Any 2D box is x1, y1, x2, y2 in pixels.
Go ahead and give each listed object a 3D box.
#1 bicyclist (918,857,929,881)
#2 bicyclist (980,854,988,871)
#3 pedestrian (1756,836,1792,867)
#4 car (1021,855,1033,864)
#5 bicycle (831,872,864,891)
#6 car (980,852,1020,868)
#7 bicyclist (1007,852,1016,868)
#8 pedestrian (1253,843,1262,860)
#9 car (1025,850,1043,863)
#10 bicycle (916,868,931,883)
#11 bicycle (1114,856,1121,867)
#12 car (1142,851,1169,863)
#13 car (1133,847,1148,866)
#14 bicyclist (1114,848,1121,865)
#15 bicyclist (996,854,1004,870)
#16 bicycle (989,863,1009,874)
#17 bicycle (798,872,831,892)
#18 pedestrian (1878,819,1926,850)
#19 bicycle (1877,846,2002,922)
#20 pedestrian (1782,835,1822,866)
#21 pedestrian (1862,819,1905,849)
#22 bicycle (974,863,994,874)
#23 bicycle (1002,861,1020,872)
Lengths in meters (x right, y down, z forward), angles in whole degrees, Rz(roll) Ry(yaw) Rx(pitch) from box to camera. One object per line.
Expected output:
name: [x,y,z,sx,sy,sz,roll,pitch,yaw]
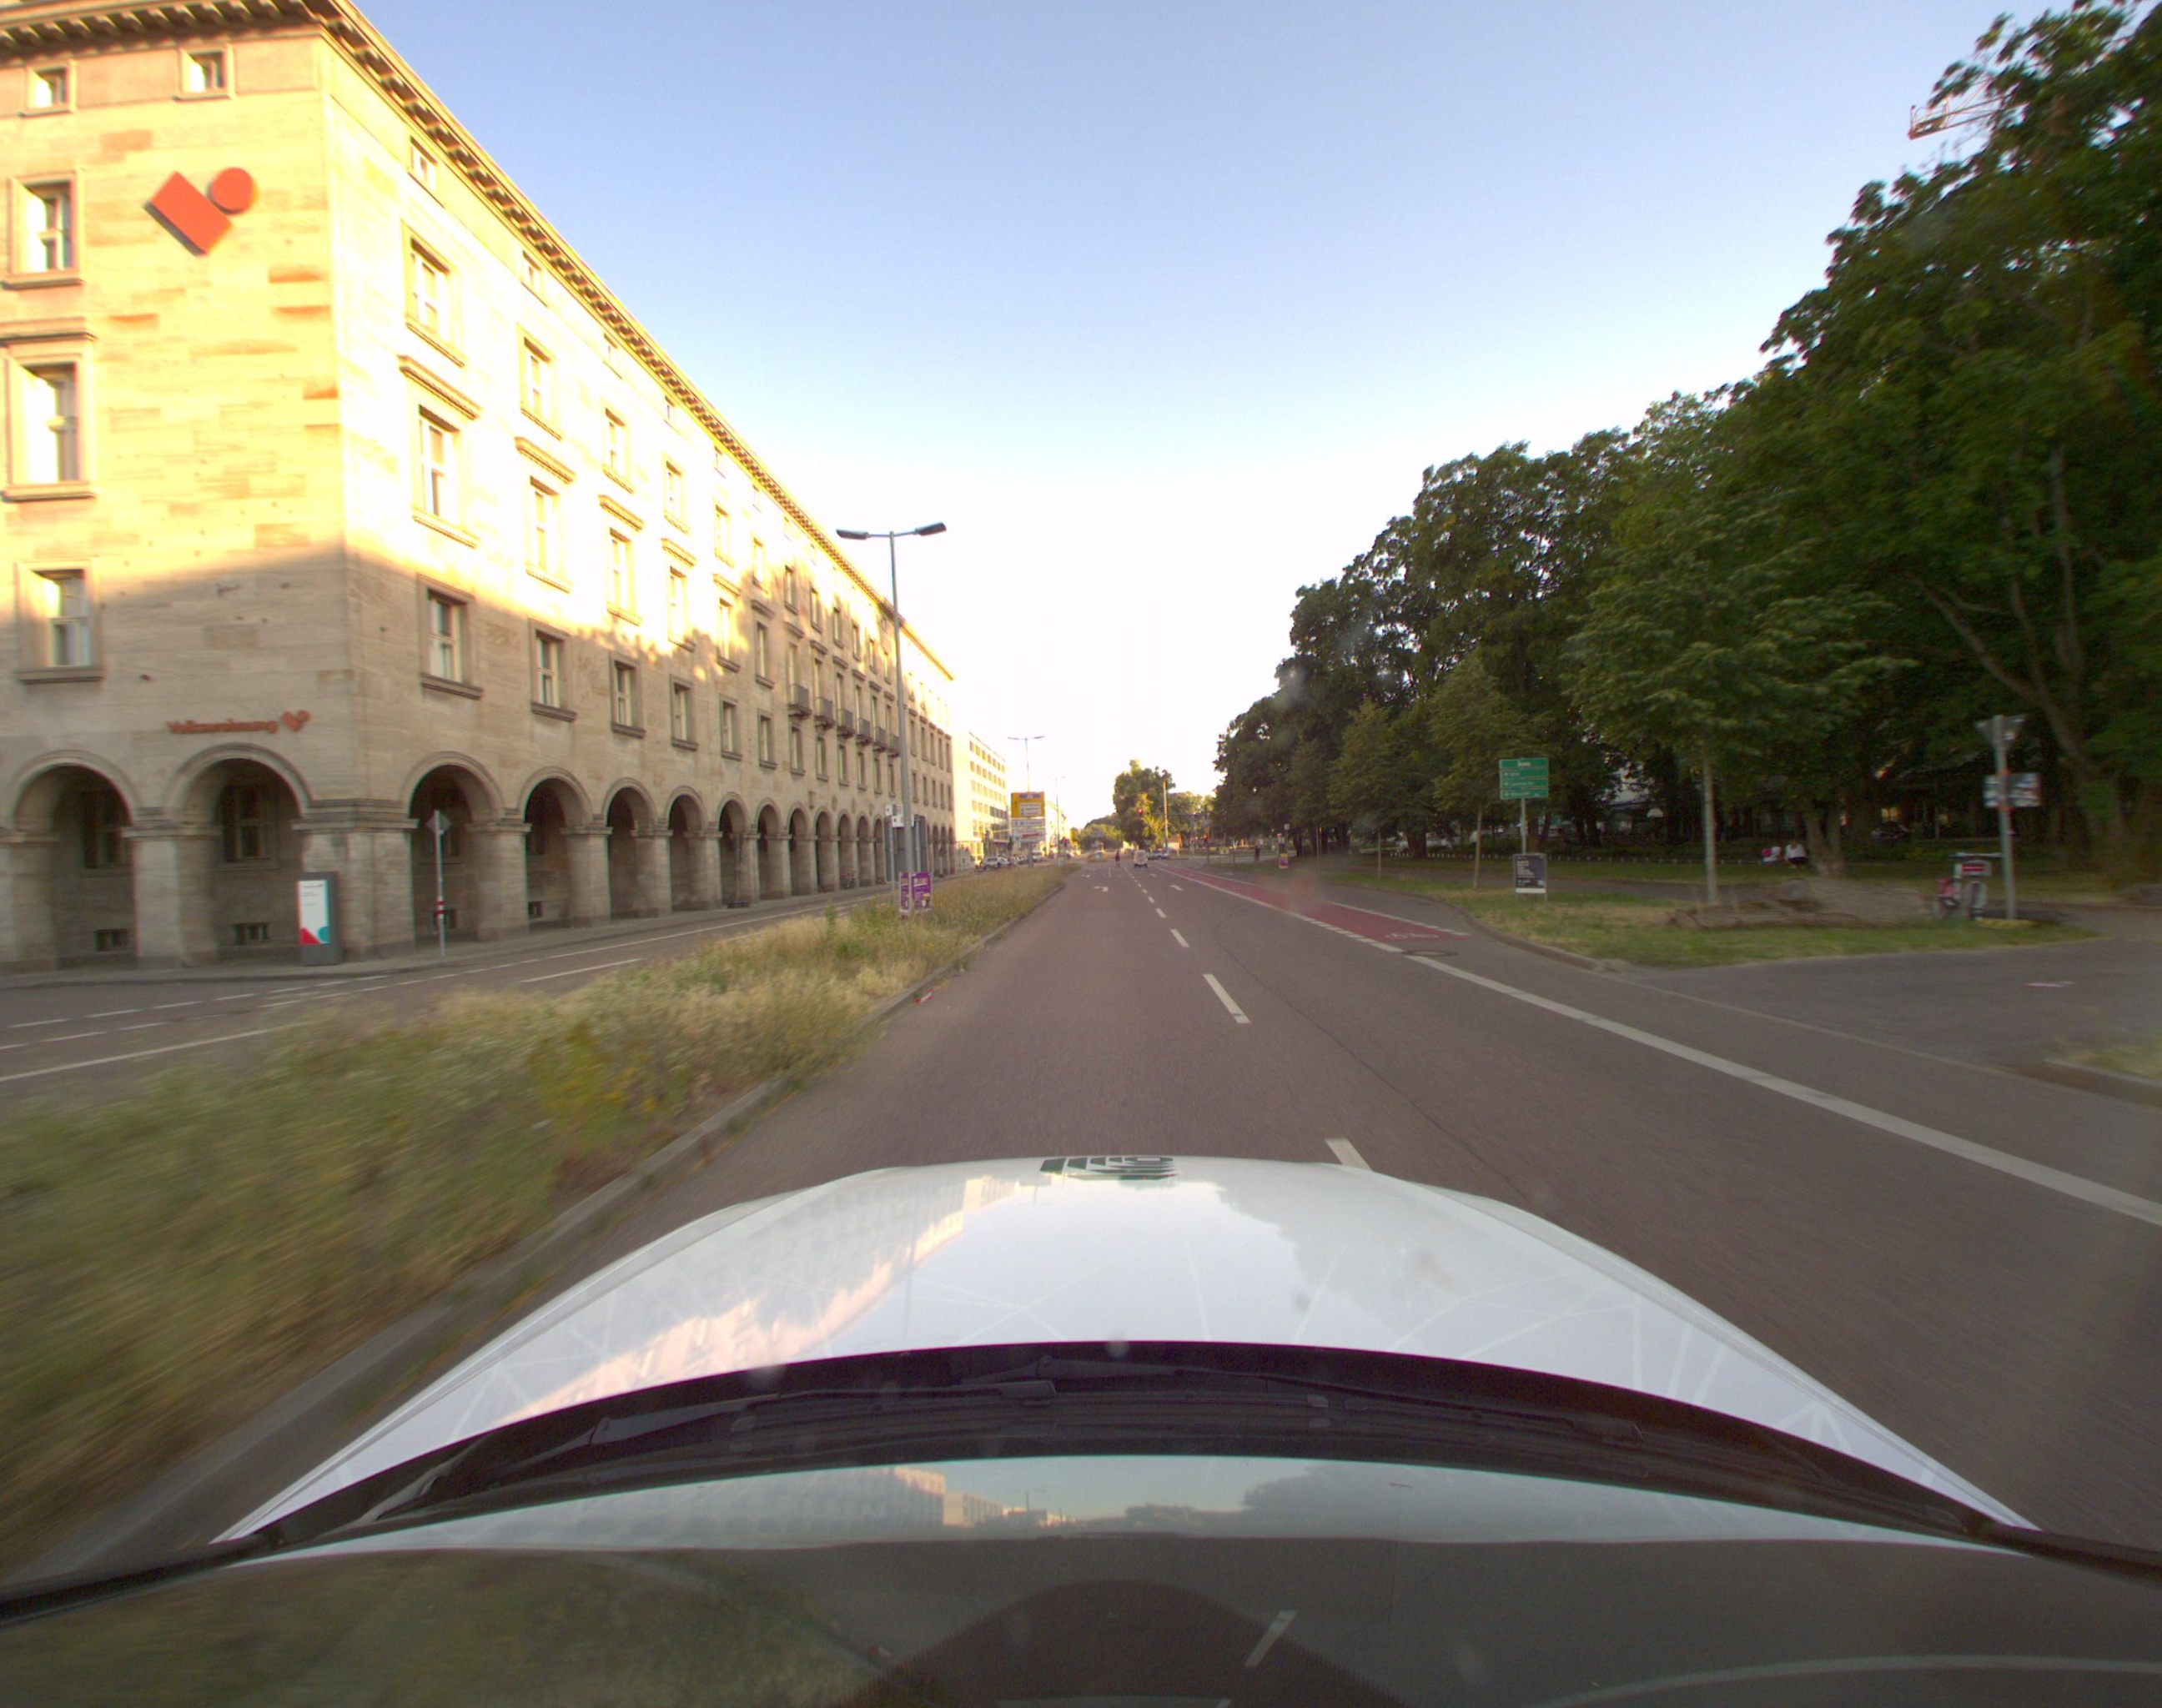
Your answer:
bicyclist: [-11.249,1.046,58.075,0.534,1.693,0.749,-3,0,2]
bicyclist: [-10.228,0.893,85.982,0.745,1.693,0.714,-3,0,-5]
pedestrian: [21.163,-0.075,24.874,0.682,0.884,0.588,-3,0,-23]
car: [-10.883,1.125,164.185,1.787,1.475,4.005,-3,-2,5]
bicycle: [-14.221,1.667,49.682,0.472,1.005,2.018,-3,0,38]
car: [-9.385,0.659,94.252,4.528,1.648,1.996,-3,0,-7]
bicyclist: [-7.761,0.686,91.086,0.742,1.693,0.716,-3,0,5]
pedestrian: [17.861,-0.285,82.568,0.693,1.693,0.748,-3,0,0]
car: [-9.796,0.560,170.763,2.161,2.385,6.010,-3,-2,13]
bicycle: [-11.256,1.526,58.212,0.539,1.005,2.006,-3,0,2]
bicycle: [3.657,0.702,81.676,0.635,1.069,2.070,-2,0,2]
car: [11.070,0.412,121.426,3.969,1.574,2.003,-3,0,4]
car: [5.951,0.270,81.093,1.453,1.780,2.568,-2,1,4]
bicyclist: [3.619,0.281,81.362,0.626,1.693,0.749,-3,0,1]
bicyclist: [-8.665,0.852,87.370,0.744,1.693,0.765,-3,0,-1]
bicycle: [-8.779,1.531,87.353,2.052,1.069,0.786,-3,0,-2]
bicycle: [-14.594,1.515,44.647,0.473,1.005,2.015,-3,0,21]
pedestrian: [35.460,-0.844,35.192,1.126,1.260,0.906,-3,0,4]
bicycle: [13.021,0.425,12.426,0.490,1.005,1.908,-5,0,22]
pedestrian: [21.432,-0.106,24.218,0.682,0.884,0.619,-3,0,-23]
pedestrian: [35.590,-0.863,36.141,1.126,1.260,0.726,-3,0,4]
bicycle: [-10.280,1.558,85.996,2.011,1.069,0.730,-3,0,-4]
bicycle: [-7.838,1.416,91.078,1.888,1.069,0.732,-4,-1,4]
